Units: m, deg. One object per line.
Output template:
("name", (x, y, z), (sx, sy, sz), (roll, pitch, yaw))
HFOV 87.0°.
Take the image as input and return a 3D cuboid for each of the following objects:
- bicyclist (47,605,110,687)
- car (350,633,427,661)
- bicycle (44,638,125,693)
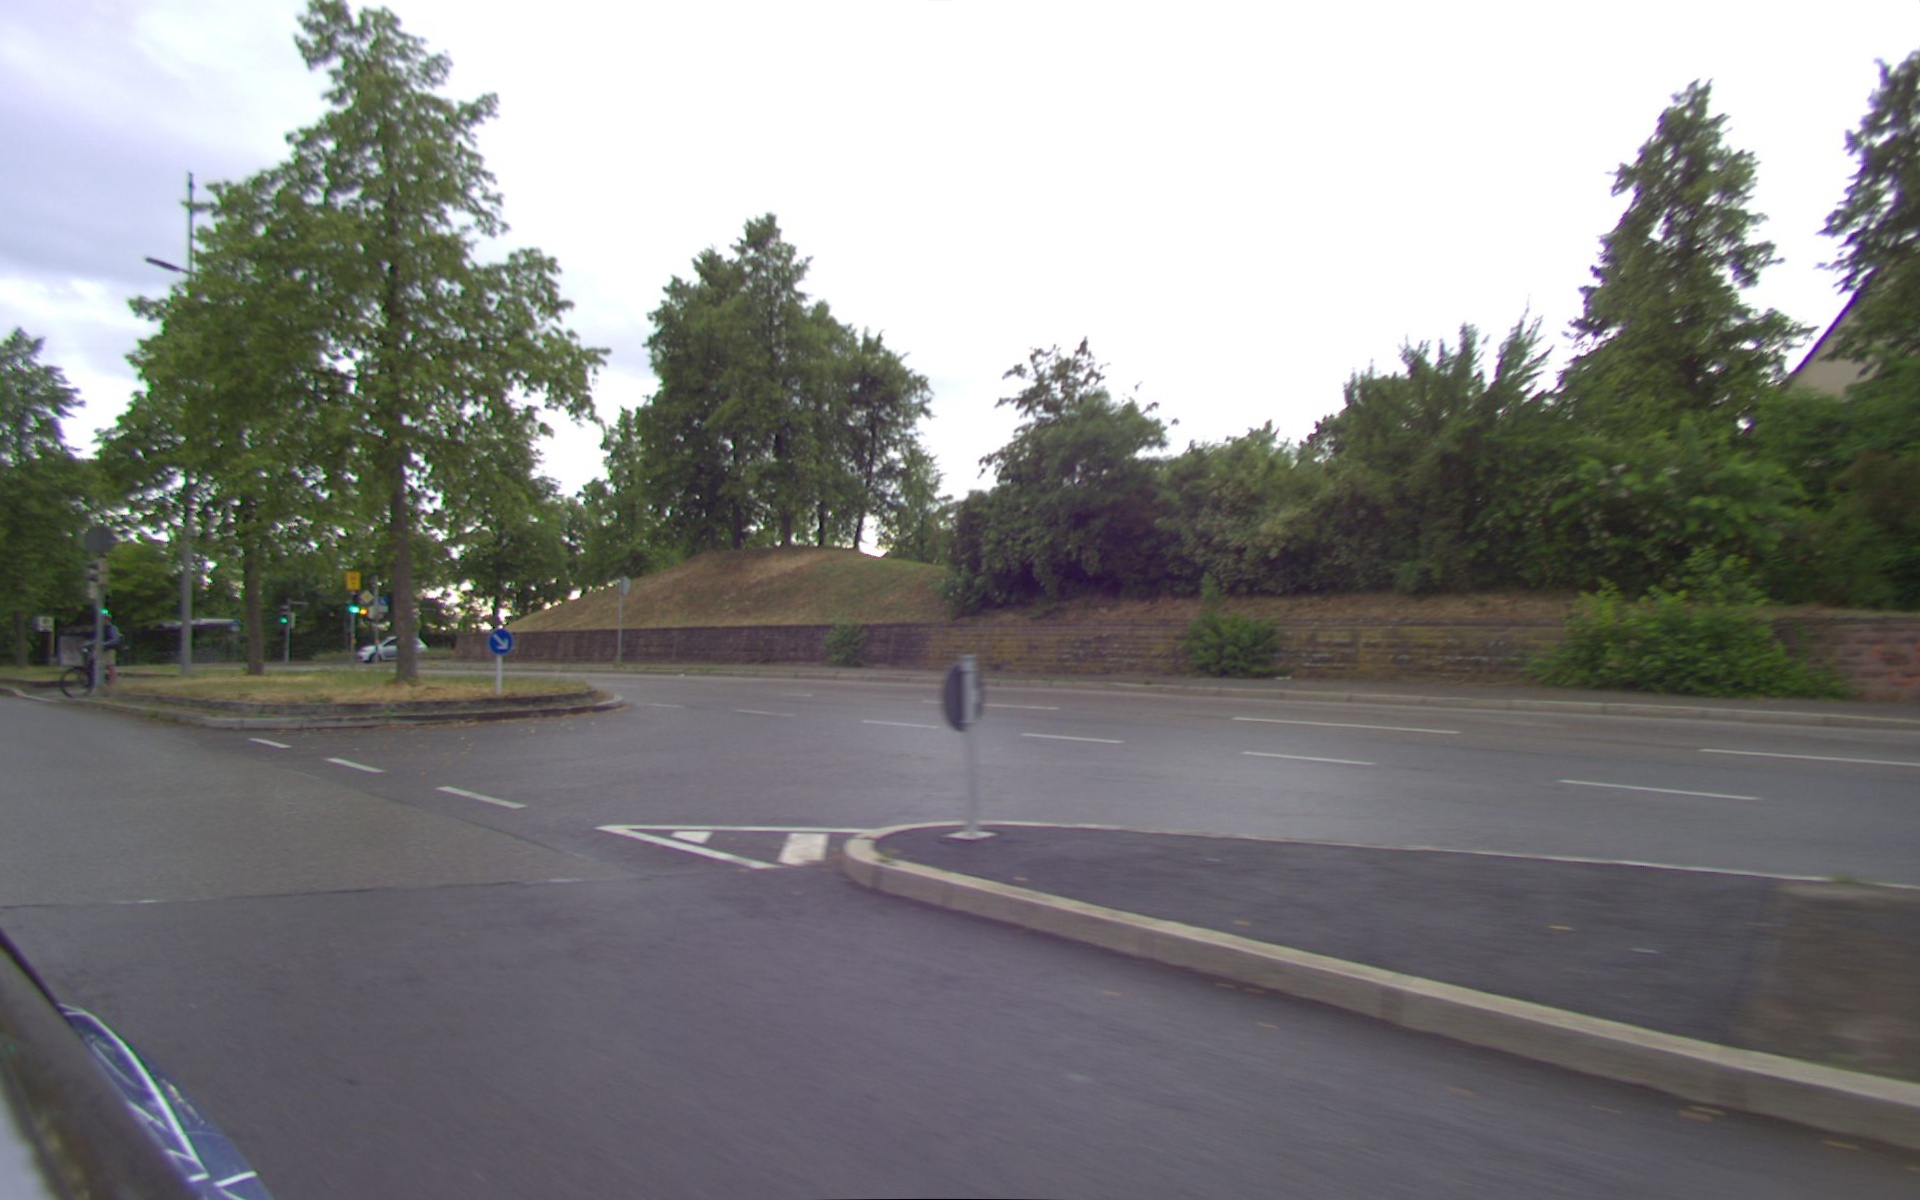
("bicyclist", (-19.727, 1.023, 22.674), (0.713, 1.765, 0.804), (3, -2, -17))
("car", (-33.188, 2.701, 58.809), (3.640, 1.489, 1.764), (1, -2, -41))
("bicycle", (-19.833, 1.462, 22.977), (0.544, 1.151, 2.146), (0, -2, -17))
